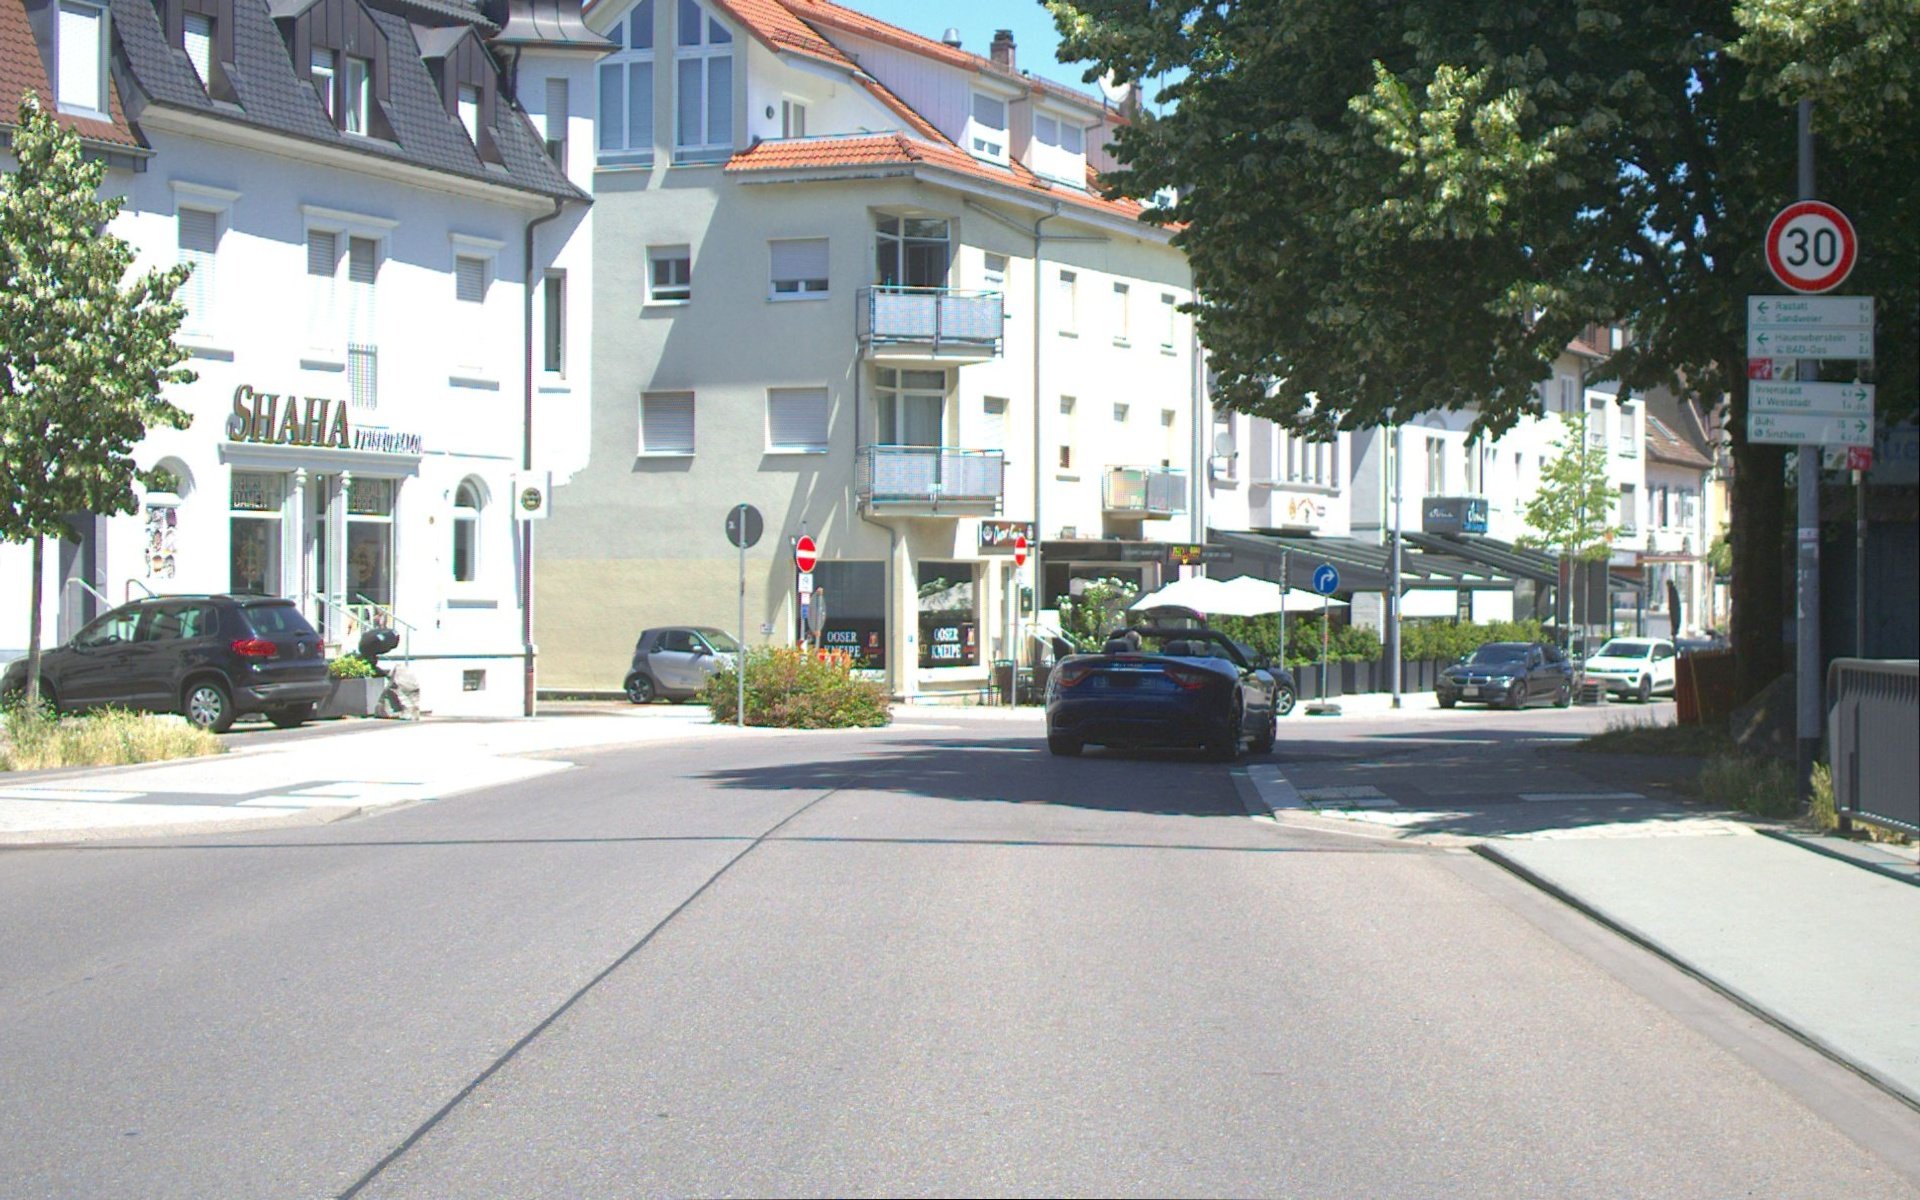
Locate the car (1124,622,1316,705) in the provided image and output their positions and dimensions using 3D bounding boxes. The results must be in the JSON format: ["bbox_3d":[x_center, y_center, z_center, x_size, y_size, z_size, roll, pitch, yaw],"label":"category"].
[{"bbox_3d":[5.074,1.242,66.610,1.716,1.455,4.120,3,0,37],"label":"car"}]

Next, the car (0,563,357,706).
[{"bbox_3d":[-9.757,0.391,42.354,4.185,1.656,1.968,1,1,22],"label":"car"}]

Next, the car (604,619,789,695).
[{"bbox_3d":[-5.222,1.119,68.188,3.266,1.453,1.690,0,0,22],"label":"car"}]

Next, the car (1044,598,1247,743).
[{"bbox_3d":[1.856,0.680,35.597,1.870,1.337,4.596,2,0,1],"label":"car"}]

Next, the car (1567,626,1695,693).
[{"bbox_3d":[15.978,1.397,81.757,1.648,1.474,3.933,2,1,32],"label":"car"}]

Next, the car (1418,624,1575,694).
[{"bbox_3d":[11.791,1.265,75.314,1.837,1.425,4.775,2,1,29],"label":"car"}]
